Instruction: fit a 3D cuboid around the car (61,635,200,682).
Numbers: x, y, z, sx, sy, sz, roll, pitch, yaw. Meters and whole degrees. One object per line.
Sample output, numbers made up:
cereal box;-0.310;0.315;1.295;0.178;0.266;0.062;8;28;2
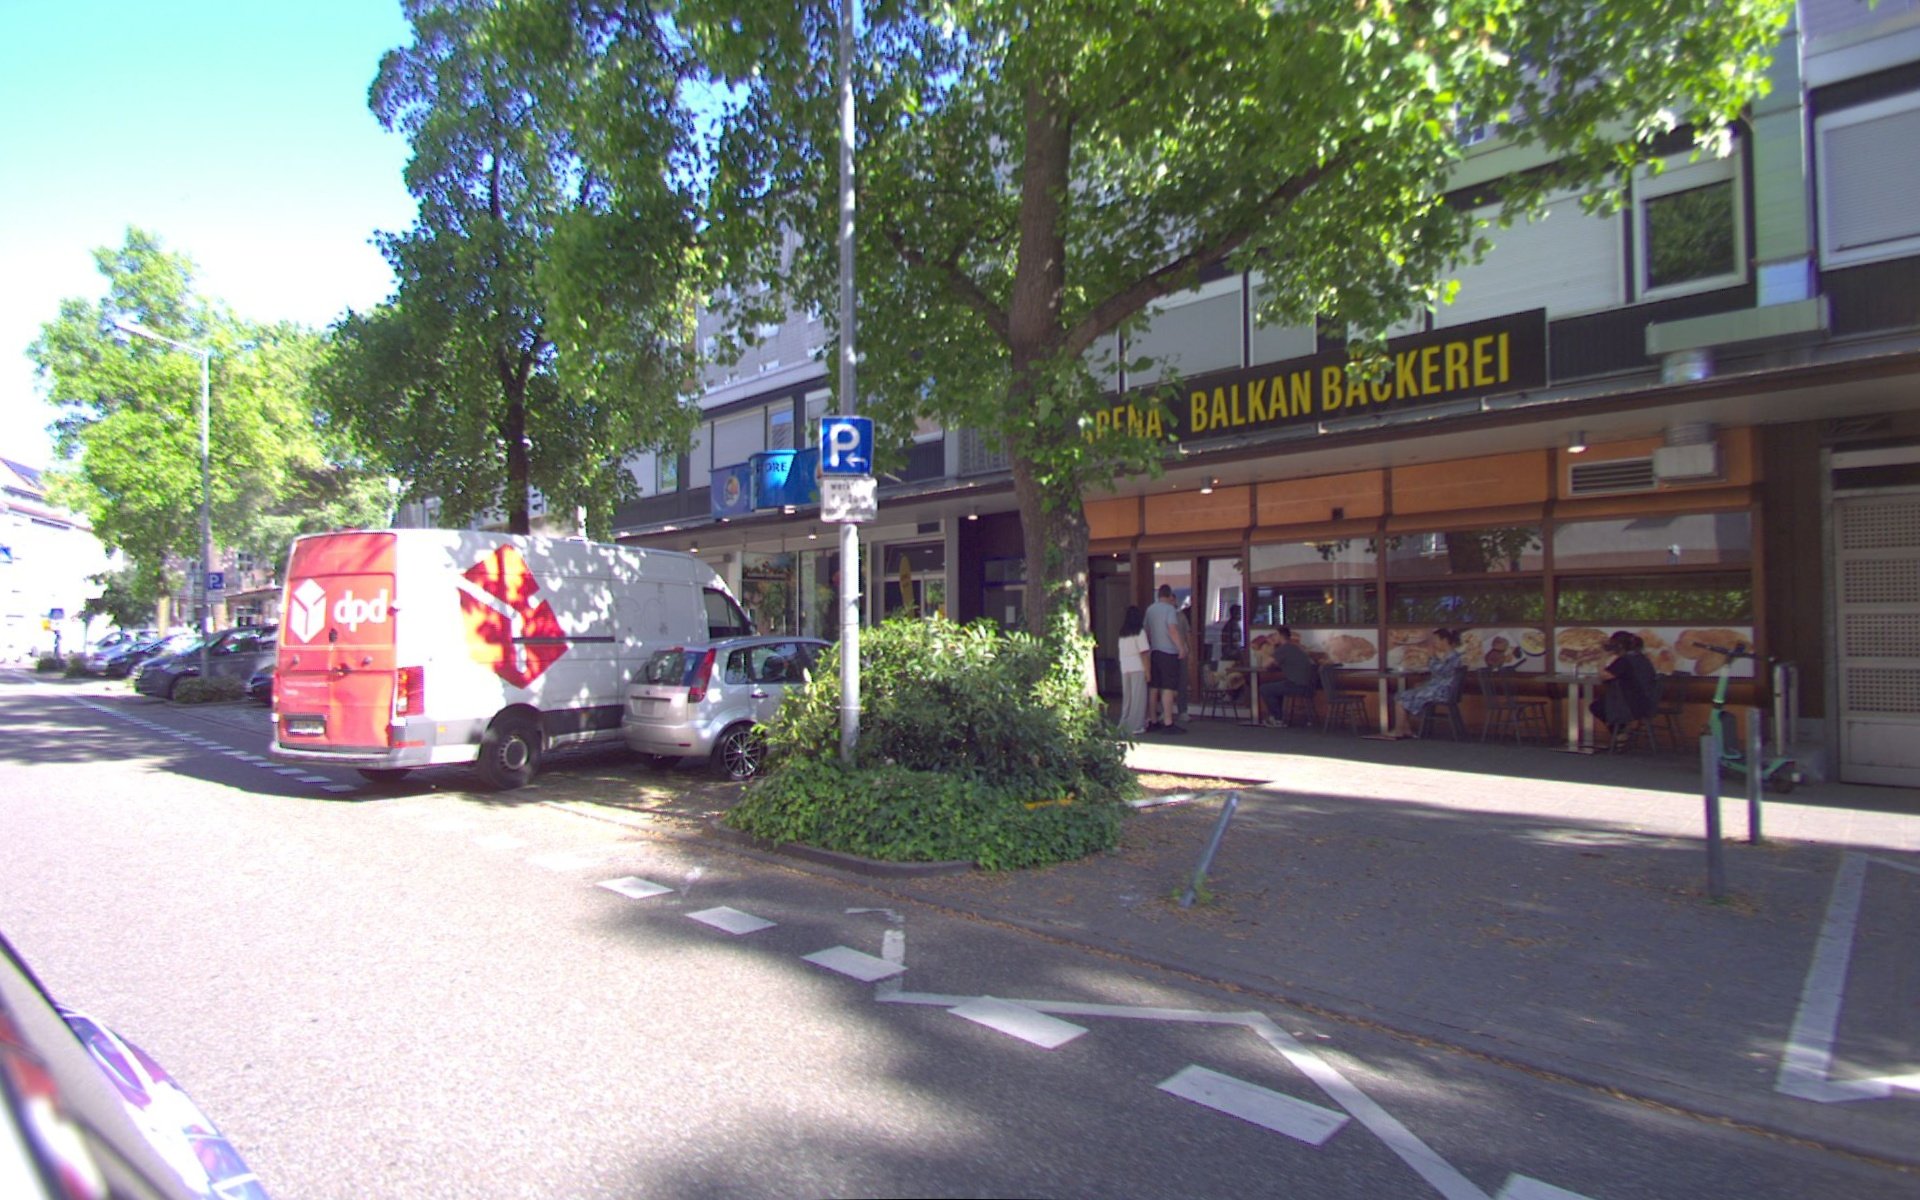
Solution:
car;-39.679;2.763;48.494;1.909;1.984;4.929;-3;-2;42

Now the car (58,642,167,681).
car;-41.805;3.012;49.982;1.757;1.805;3.943;-3;-3;43

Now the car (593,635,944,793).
car;-2.074;1.154;11.542;1.832;1.431;3.554;-2;-2;43

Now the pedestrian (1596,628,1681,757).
pedestrian;6.806;0.909;10.158;0.636;1.250;0.324;-2;-3;41

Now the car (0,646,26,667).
car;-70.221;4.140;74.156;1.608;1.432;3.304;0;-2;-23

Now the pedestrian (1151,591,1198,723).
pedestrian;3.176;0.832;14.986;0.492;1.918;0.448;-3;-3;42

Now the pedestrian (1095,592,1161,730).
pedestrian;2.166;0.777;13.087;0.590;1.725;0.589;0;-2;-25

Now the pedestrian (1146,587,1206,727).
pedestrian;3.037;0.793;14.243;0.579;1.918;0.588;-3;-3;42

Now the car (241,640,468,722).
car;-12.914;1.667;21.743;1.710;1.462;3.875;-3;-2;43

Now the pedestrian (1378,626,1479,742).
pedestrian;5.408;0.943;11.684;0.898;1.273;0.601;-2;-3;41

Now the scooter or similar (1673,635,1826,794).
scooter or similar;6.821;0.944;8.809;0.453;1.233;1.314;-1;-1;10

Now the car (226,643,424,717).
car;-14.832;1.810;23.753;1.612;1.462;3.628;-3;-2;40

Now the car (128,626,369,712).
car;-18.810;1.750;26.945;1.873;1.953;4.975;-3;-2;43

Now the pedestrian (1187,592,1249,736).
pedestrian;3.532;0.861;13.861;0.579;1.918;0.588;-3;-3;42

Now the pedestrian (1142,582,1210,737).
pedestrian;2.803;0.764;13.158;0.590;1.950;0.589;0;-3;-25

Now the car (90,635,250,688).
car;-30.949;2.364;39.775;1.873;1.791;4.718;-3;-2;42

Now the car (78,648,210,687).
car;-33.091;2.707;41.131;1.759;1.409;3.944;-3;-3;42

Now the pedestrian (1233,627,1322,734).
pedestrian;4.206;1.041;13.405;0.953;1.351;0.557;-2;-2;42

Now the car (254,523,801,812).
car;-4.492;0.704;12.190;1.987;2.493;6.553;-2;-2;22
